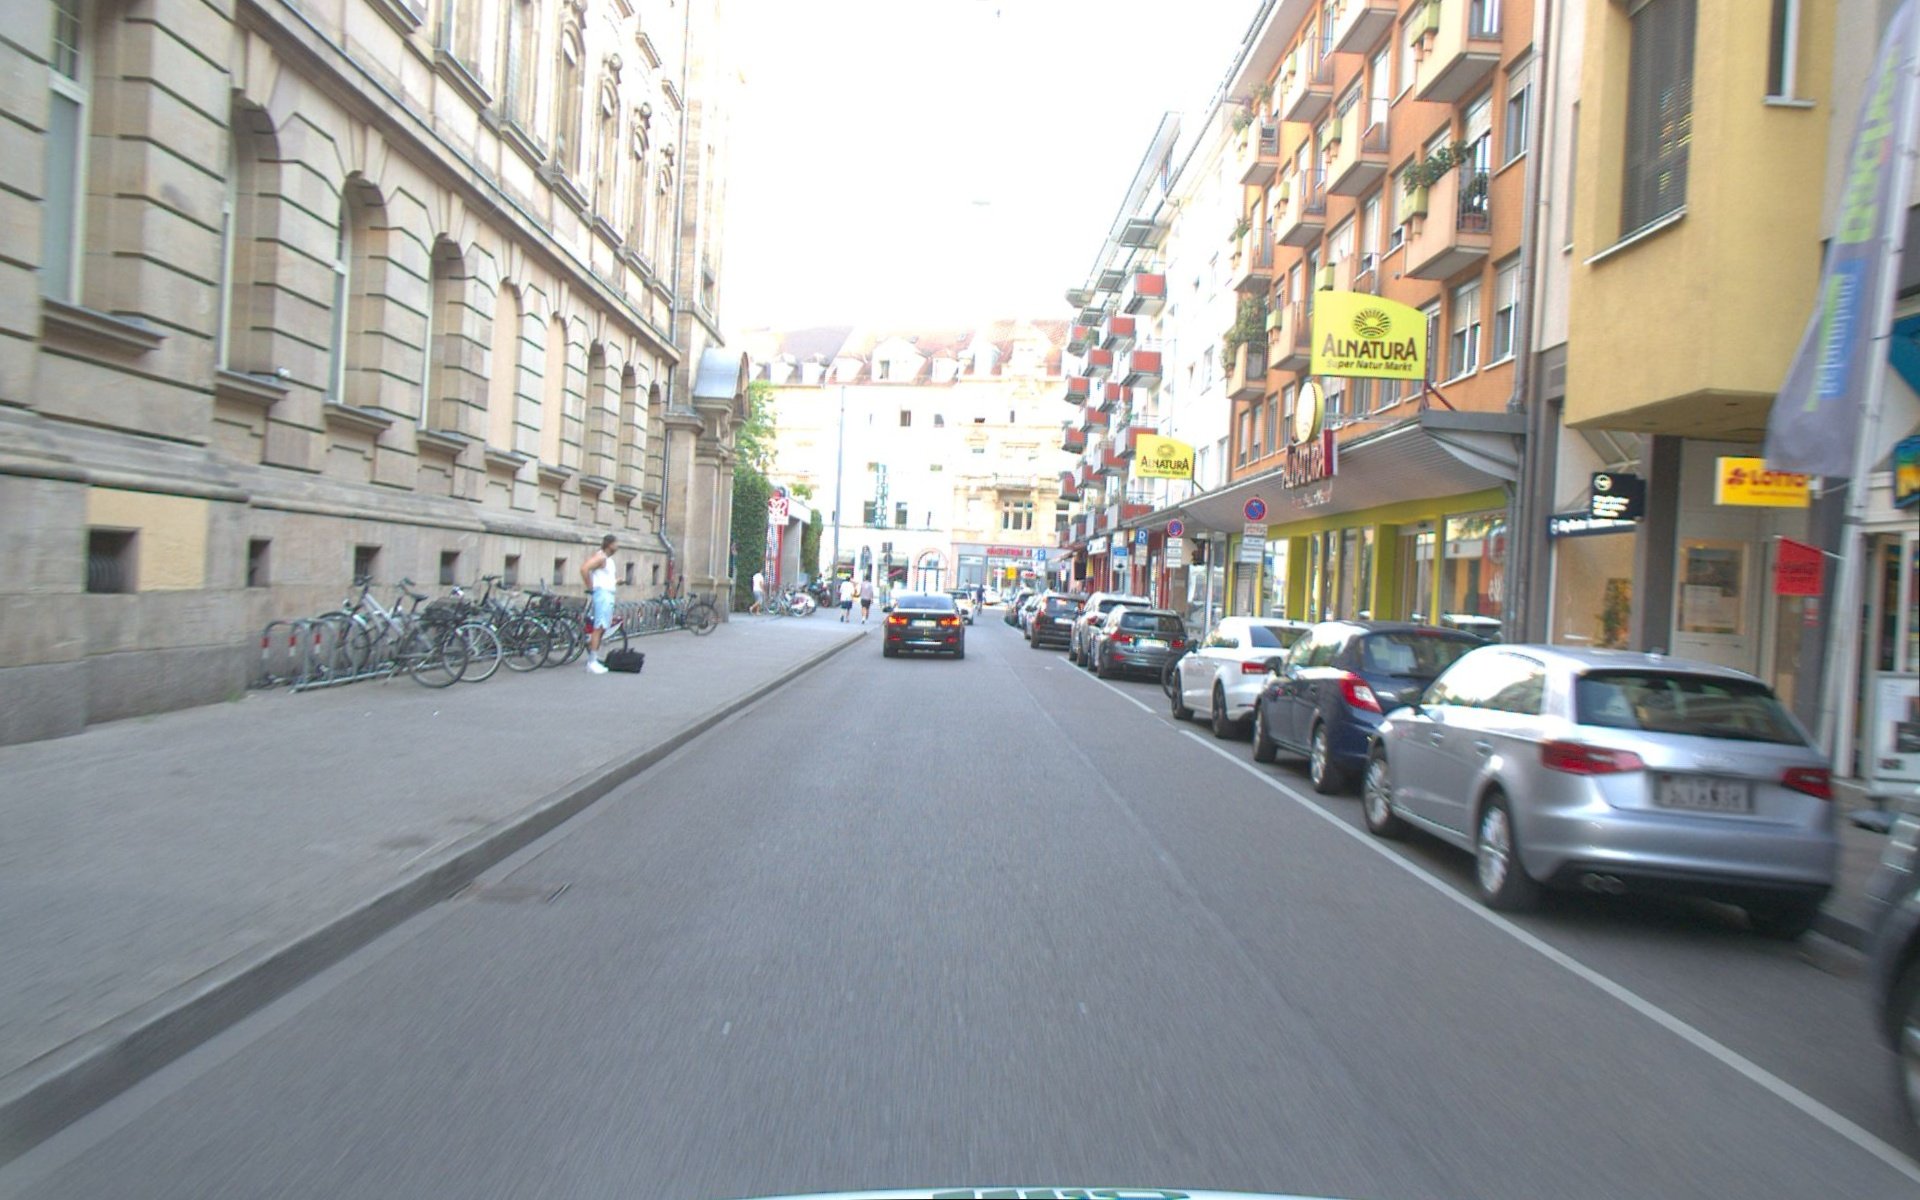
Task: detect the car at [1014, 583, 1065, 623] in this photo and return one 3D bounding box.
[{"bbox_3d":[3.366,0.100,70.652,1.665,1.477,4.457,5,1,-2],"label":"car"}]

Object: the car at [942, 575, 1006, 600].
[{"bbox_3d":[0.997,-0.929,121.180,4.263,1.589,1.868,2,0,22],"label":"car"}]

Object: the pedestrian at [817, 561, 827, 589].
[{"bbox_3d":[-8.215,-1.479,98.691,0.490,1.671,0.521,2,1,1],"label":"pedestrian"}]

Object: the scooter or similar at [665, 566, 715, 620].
[{"bbox_3d":[-6.704,-0.171,41.063,1.113,1.254,0.495,4,0,-13],"label":"scooter or similar"}]

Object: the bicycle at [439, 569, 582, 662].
[{"bbox_3d":[-6.116,0.210,22.561,1.760,1.127,0.499,4,0,-7],"label":"bicycle"}]

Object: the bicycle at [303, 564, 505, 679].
[{"bbox_3d":[-5.996,0.231,17.896,1.898,1.080,0.619,4,0,-2],"label":"bicycle"}]

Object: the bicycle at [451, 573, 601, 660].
[{"bbox_3d":[-6.117,0.229,23.376,1.900,1.080,0.619,4,0,-7],"label":"bicycle"}]

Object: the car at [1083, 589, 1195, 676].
[{"bbox_3d":[3.549,0.596,33.488,1.657,1.439,4.757,5,1,0],"label":"car"}]

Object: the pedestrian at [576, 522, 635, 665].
[{"bbox_3d":[-4.848,-0.095,22.663,0.577,1.883,0.753,4,1,-6],"label":"pedestrian"}]

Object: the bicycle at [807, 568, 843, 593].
[{"bbox_3d":[-6.997,-1.009,85.771,1.760,1.126,0.499,4,0,-6],"label":"bicycle"}]

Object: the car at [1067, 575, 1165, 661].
[{"bbox_3d":[3.556,0.355,38.455,1.717,1.696,4.757,5,1,0],"label":"car"}]

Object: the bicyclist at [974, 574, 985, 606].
[{"bbox_3d":[1.088,-0.556,92.319,0.513,1.787,0.620,3,0,0],"label":"bicyclist"}]

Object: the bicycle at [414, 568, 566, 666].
[{"bbox_3d":[-6.055,0.214,21.362,1.760,1.127,0.499,4,0,-7],"label":"bicycle"}]

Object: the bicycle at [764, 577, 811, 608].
[{"bbox_3d":[-6.839,-0.290,65.695,1.758,1.127,0.500,3,1,-1],"label":"bicycle"}]

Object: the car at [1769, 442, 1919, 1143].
[{"bbox_3d":[3.832,0.633,3.261,1.809,2.093,5.053,4,0,-1],"label":"car"}]

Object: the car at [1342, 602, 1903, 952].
[{"bbox_3d":[3.765,0.870,10.353,1.652,1.478,4.498,5,1,1],"label":"car"}]

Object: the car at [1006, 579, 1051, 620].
[{"bbox_3d":[3.160,-0.059,77.186,1.729,1.670,4.790,5,1,0],"label":"car"}]

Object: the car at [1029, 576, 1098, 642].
[{"bbox_3d":[2.991,0.214,47.695,1.757,1.637,4.489,5,1,4],"label":"car"}]

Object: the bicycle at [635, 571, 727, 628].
[{"bbox_3d":[-6.296,-0.012,37.279,1.906,1.079,0.617,6,-1,-16],"label":"bicycle"}]

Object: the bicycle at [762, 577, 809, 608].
[{"bbox_3d":[-6.967,-0.298,66.040,1.758,1.127,0.500,3,1,-2],"label":"bicycle"}]

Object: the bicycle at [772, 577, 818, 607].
[{"bbox_3d":[-6.804,-0.345,68.217,1.757,1.127,0.500,4,0,2],"label":"bicycle"}]

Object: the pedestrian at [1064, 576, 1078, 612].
[{"bbox_3d":[5.234,-0.279,78.257,0.634,1.690,0.655,0,0,1],"label":"pedestrian"}]

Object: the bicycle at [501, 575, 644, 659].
[{"bbox_3d":[-5.704,0.246,24.423,1.899,1.080,0.619,4,0,-3],"label":"bicycle"}]

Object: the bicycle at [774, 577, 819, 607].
[{"bbox_3d":[-6.793,-0.345,68.850,1.757,1.127,0.500,4,0,2],"label":"bicycle"}]

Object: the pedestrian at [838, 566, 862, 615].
[{"bbox_3d":[-4.247,-0.377,64.154,0.726,1.843,1.009,5,1,-1],"label":"pedestrian"}]

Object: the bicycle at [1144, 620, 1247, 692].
[{"bbox_3d":[3.804,0.906,26.644,1.723,1.073,0.650,3,1,-42],"label":"bicycle"}]

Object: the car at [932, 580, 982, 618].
[{"bbox_3d":[-0.100,-0.068,71.627,1.838,1.498,4.002,2,1,3],"label":"car"}]

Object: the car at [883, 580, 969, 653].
[{"bbox_3d":[-0.714,0.319,37.372,1.729,1.398,4.791,3,1,0],"label":"car"}]

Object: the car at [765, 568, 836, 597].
[{"bbox_3d":[-9.194,-1.002,95.232,3.913,1.527,1.888,2,1,-9],"label":"car"}]

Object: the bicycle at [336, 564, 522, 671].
[{"bbox_3d":[-6.122,0.200,19.143,1.900,1.080,0.619,4,0,-7],"label":"bicycle"}]

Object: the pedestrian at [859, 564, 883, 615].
[{"bbox_3d":[-3.463,-0.397,64.526,0.729,1.926,1.050,4,1,0],"label":"pedestrian"}]

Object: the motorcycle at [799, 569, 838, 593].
[{"bbox_3d":[-7.113,-0.951,82.993,1.765,1.082,0.764,4,1,25],"label":"motorcycle"}]

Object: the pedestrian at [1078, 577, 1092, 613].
[{"bbox_3d":[5.917,-0.251,78.215,0.634,1.690,0.794,0,0,1],"label":"pedestrian"}]

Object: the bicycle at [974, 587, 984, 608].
[{"bbox_3d":[1.069,-0.135,92.344,0.525,1.127,1.800,3,1,1],"label":"bicycle"}]

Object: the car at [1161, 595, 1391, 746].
[{"bbox_3d":[3.781,0.777,20.639,1.658,1.435,4.637,5,1,-3],"label":"car"}]

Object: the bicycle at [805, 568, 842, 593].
[{"bbox_3d":[-7.012,-1.008,85.021,1.757,1.126,0.500,4,0,2],"label":"bicycle"}]

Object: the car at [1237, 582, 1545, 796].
[{"bbox_3d":[3.836,0.700,15.466,1.586,1.542,4.173,5,1,-2],"label":"car"}]

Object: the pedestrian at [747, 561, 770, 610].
[{"bbox_3d":[-7.651,-0.555,62.925,0.702,1.785,0.848,3,0,-2],"label":"pedestrian"}]
